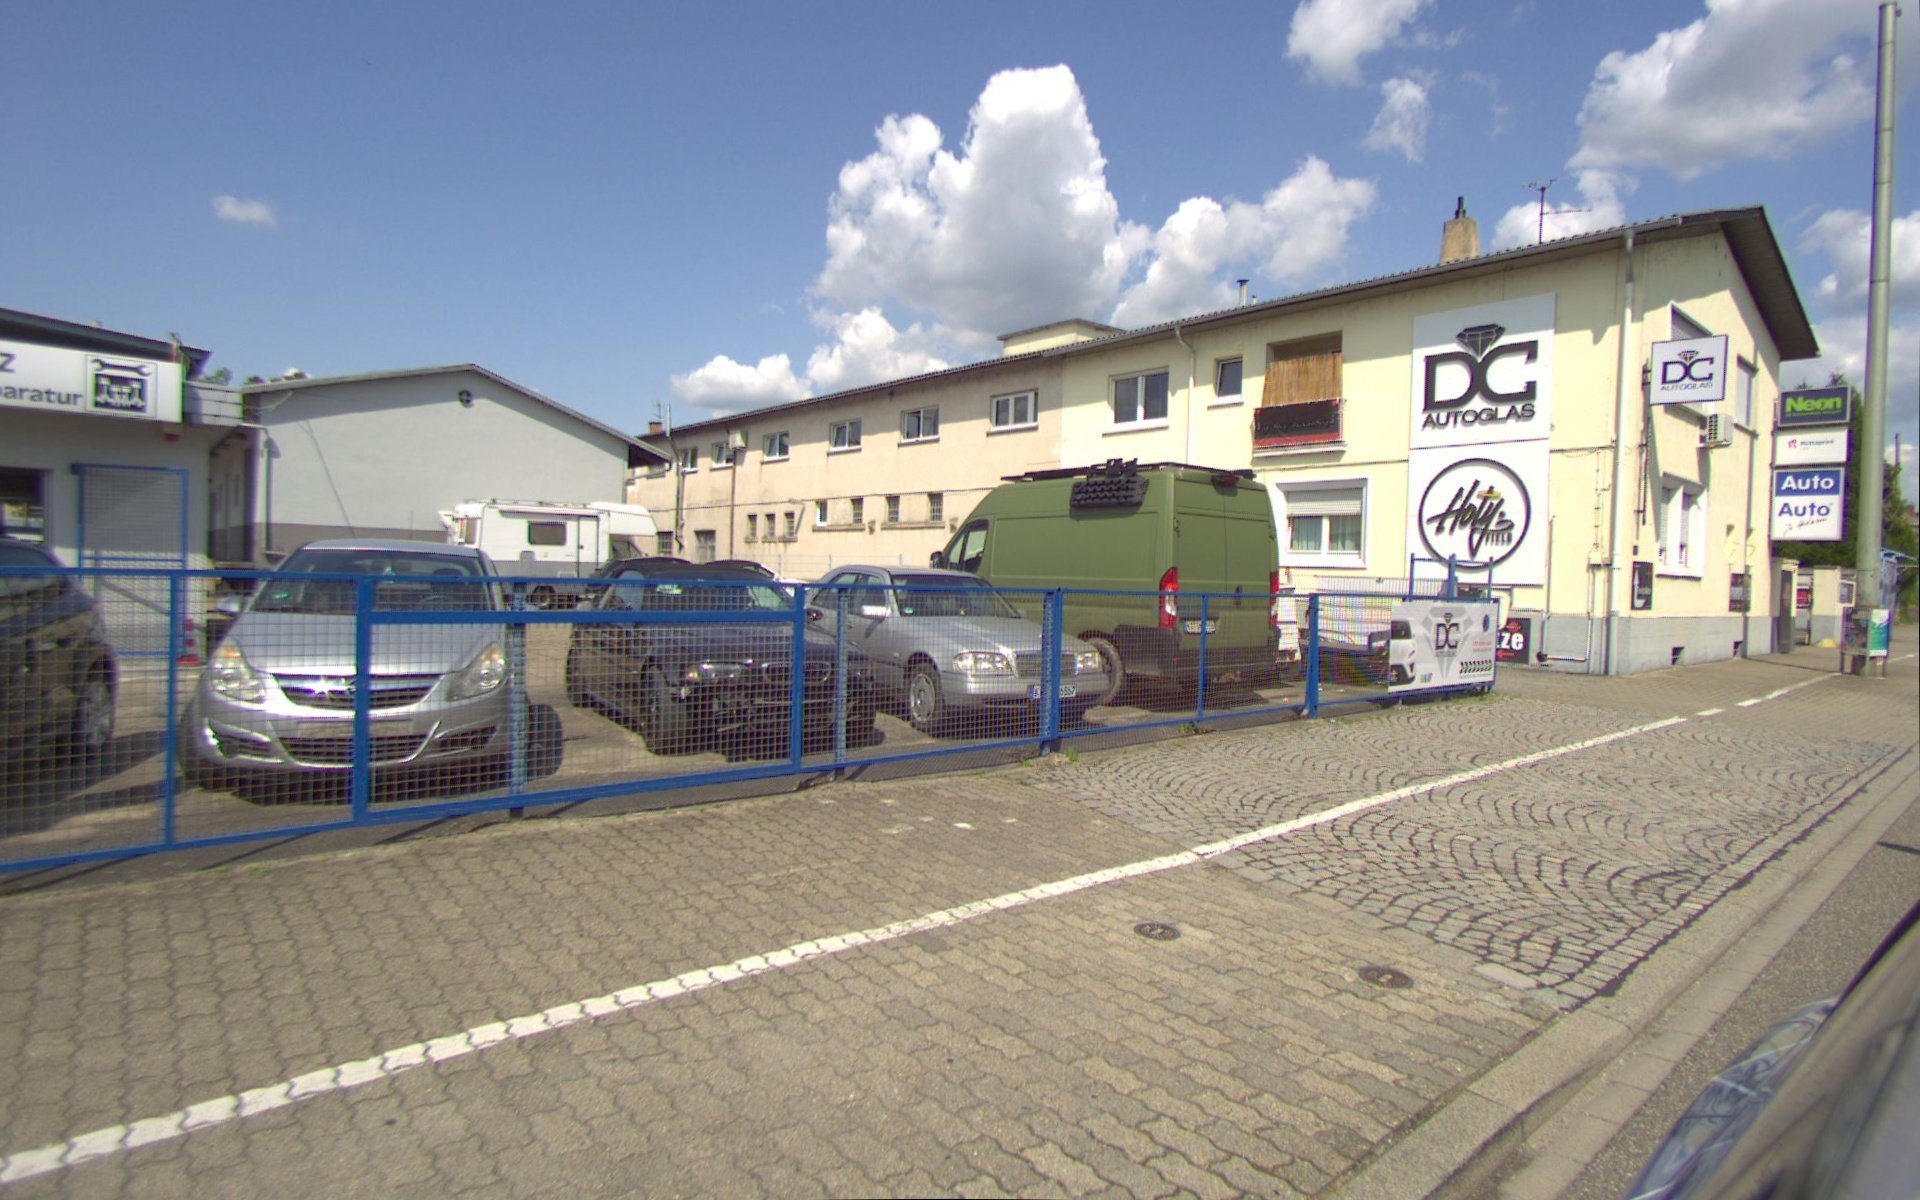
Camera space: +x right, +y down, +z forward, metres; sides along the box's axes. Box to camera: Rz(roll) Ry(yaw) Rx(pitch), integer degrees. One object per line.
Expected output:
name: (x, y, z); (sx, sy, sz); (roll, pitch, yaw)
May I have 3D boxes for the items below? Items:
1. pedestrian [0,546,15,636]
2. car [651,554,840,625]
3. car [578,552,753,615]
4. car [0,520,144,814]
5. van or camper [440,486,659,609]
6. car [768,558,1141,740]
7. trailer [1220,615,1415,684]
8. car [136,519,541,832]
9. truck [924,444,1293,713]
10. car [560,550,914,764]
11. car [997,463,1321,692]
pedestrian: (-13.261, -0.132, 13.837); (0.479, 1.228, 0.501); (1, 1, -42)
car: (-4.928, -0.250, 23.515); (3.939, 1.497, 1.719); (0, 2, -41)
car: (-7.481, -0.414, 25.885); (3.939, 1.497, 1.719); (0, 2, -41)
car: (-5.750, 0.320, 5.030); (1.685, 1.497, 4.012); (1, 2, -25)
van or camper: (-11.010, -1.327, 27.364); (4.971, 2.999, 2.284); (0, 2, -42)
car: (-0.299, 0.316, 10.201); (1.768, 1.413, 4.216); (1, 2, -33)
trailer: (5.079, 0.666, 14.524); (1.245, 0.776, 2.330); (0, 2, -39)
car: (-3.954, 0.298, 7.098); (1.766, 1.497, 4.158); (1, 2, -24)
truck: (1.620, -0.289, 12.141); (2.033, 2.639, 3.996); (1, 2, -40)
car: (-2.128, 0.306, 8.742); (1.768, 1.403, 3.837); (1, 2, -32)
car: (2.609, -0.349, 14.138); (1.771, 2.702, 4.208); (1, 2, -40)
